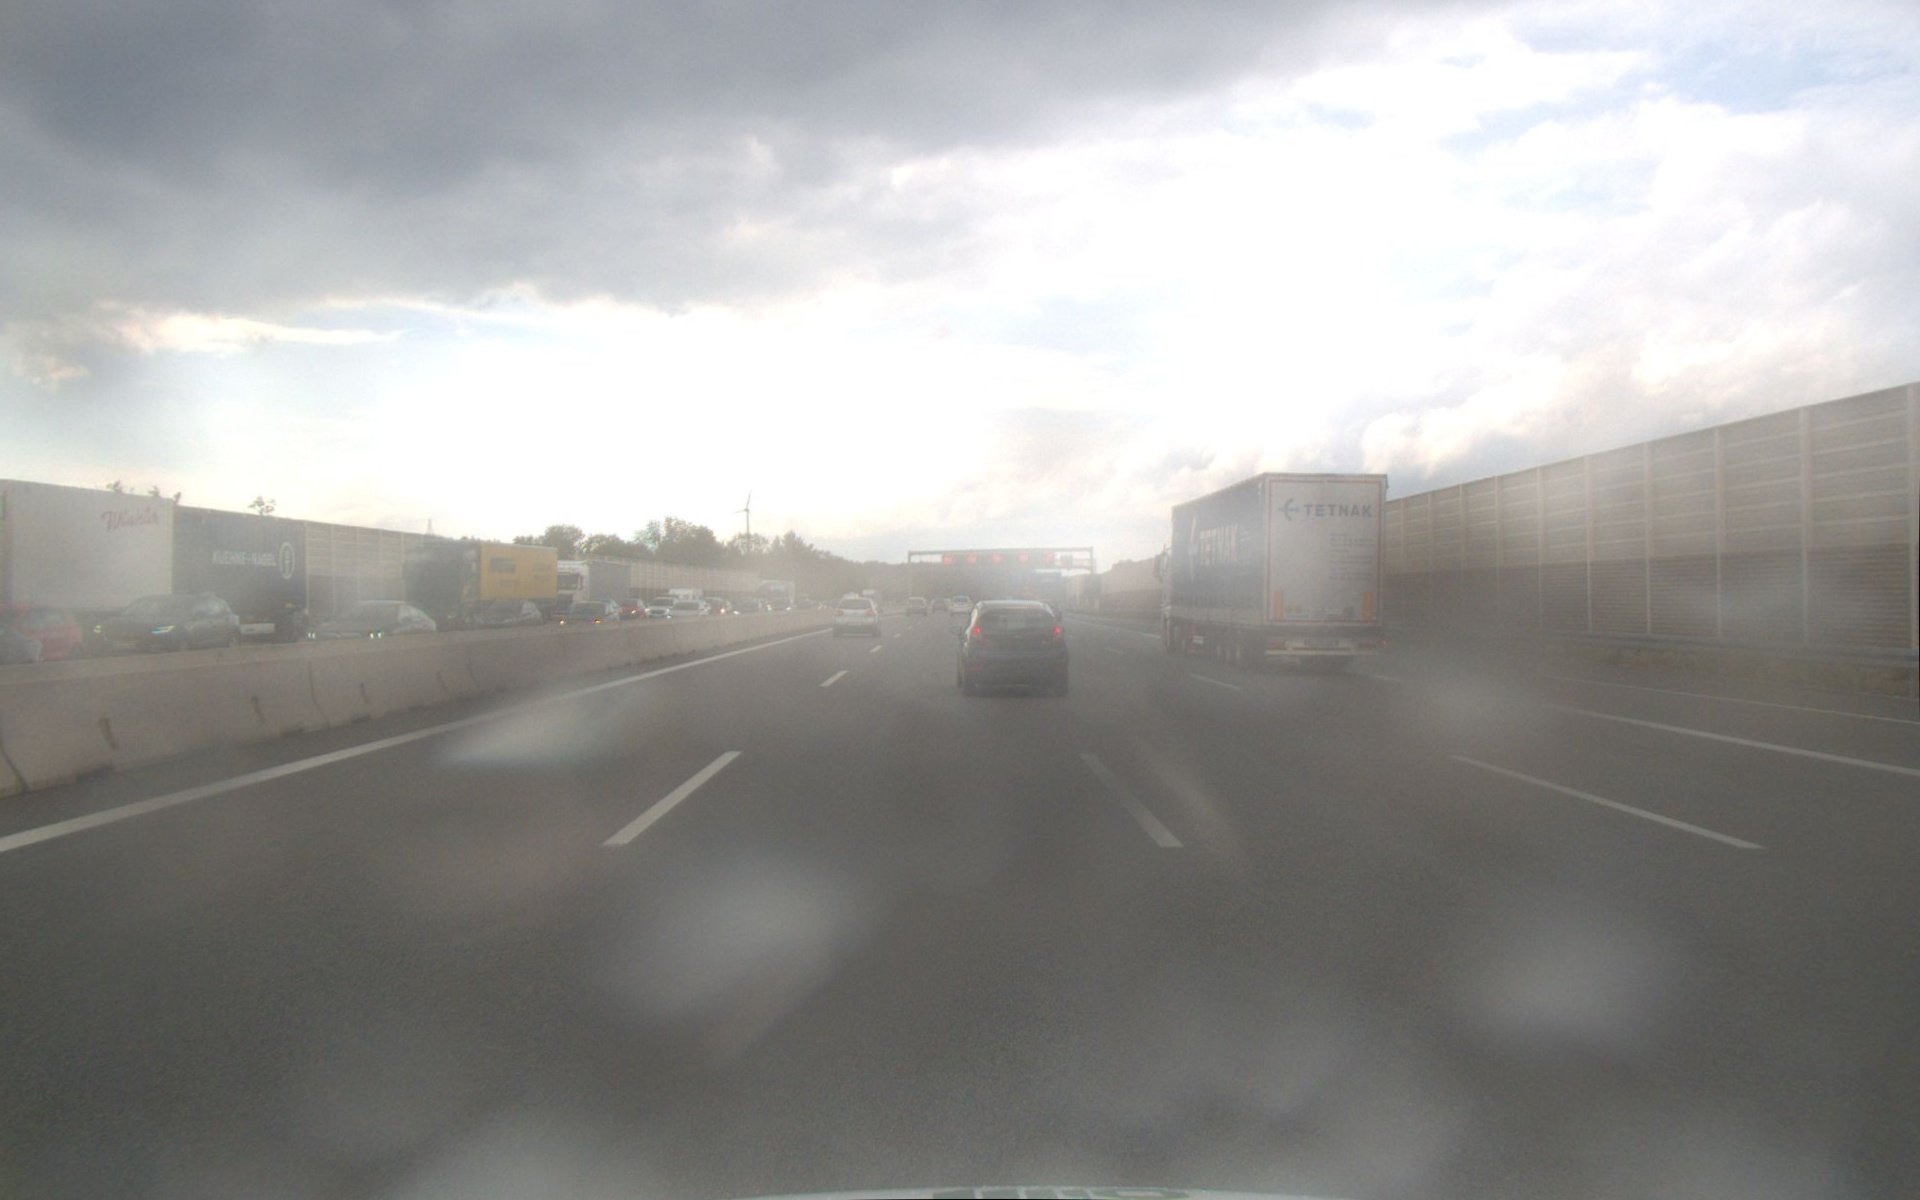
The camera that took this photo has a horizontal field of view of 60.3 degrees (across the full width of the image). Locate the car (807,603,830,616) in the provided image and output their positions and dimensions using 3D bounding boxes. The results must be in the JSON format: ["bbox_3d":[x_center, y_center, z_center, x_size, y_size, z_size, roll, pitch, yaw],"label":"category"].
[{"bbox_3d":[-16.585,1.142,194.110,2.017,1.517,4.999,0,-1,2],"label":"car"}]

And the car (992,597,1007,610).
[{"bbox_3d":[5.337,0.446,223.274,1.927,1.588,4.435,1,1,3],"label":"car"}]

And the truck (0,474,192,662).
[{"bbox_3d":[-21.924,-0.681,38.544,2.877,4.014,11.066,0,0,0],"label":"truck"}]

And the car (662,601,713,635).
[{"bbox_3d":[-14.315,0.941,87.004,2.019,1.729,4.409,0,0,-1],"label":"car"}]

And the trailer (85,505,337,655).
[{"bbox_3d":[-21.864,-0.546,49.145,2.871,4.008,10.119,0,0,0],"label":"trailer"}]

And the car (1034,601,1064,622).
[{"bbox_3d":[6.324,0.836,117.978,1.910,1.443,4.231,0,-1,-1],"label":"car"}]

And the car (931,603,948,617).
[{"bbox_3d":[-2.542,1.272,205.892,1.927,1.588,4.434,-1,-1,3],"label":"car"}]

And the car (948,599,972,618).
[{"bbox_3d":[0.010,0.721,145.864,1.927,1.588,4.434,-1,-1,3],"label":"car"}]

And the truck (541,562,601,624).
[{"bbox_3d":[-26.265,-0.439,111.906,2.688,4.105,5.726,0,0,0],"label":"truck"}]

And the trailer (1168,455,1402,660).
[{"bbox_3d":[7.405,-0.829,40.279,2.705,4.102,14.450,0,0,-1],"label":"trailer"}]

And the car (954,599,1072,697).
[{"bbox_3d":[0.778,0.716,26.711,1.682,1.442,4.277,0,0,-1],"label":"car"}]

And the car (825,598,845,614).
[{"bbox_3d":[-13.384,0.656,177.294,1.835,1.729,4.221,0,0,0],"label":"car"}]

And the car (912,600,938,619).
[{"bbox_3d":[-3.095,0.839,146.833,1.927,1.588,4.434,-1,-1,3],"label":"car"}]

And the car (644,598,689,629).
[{"bbox_3d":[-18.221,0.837,102.940,2.019,1.848,4.777,0,0,-1],"label":"car"}]

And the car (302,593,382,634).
[{"bbox_3d":[-26.870,0.557,72.059,2.019,1.753,4.210,0,0,-1],"label":"car"}]

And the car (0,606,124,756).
[{"bbox_3d":[-14.137,1.117,23.161,2.019,2.037,5.806,0,0,-1],"label":"car"}]

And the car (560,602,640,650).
[{"bbox_3d":[-14.181,0.997,65.534,2.019,1.786,5.806,0,0,-1],"label":"car"}]

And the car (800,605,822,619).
[{"bbox_3d":[-17.462,1.423,194.227,2.018,1.627,4.997,0,-1,0],"label":"car"}]

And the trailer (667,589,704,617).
[{"bbox_3d":[-25.638,0.235,154.741,2.408,2.539,6.086,0,0,1],"label":"trailer"}]

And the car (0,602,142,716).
[{"bbox_3d":[-18.363,1.070,32.274,2.019,2.037,5.806,0,0,-1],"label":"car"}]

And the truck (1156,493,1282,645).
[{"bbox_3d":[7.343,-0.832,47.653,2.689,4.105,5.725,0,0,-1],"label":"truck"}]

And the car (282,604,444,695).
[{"bbox_3d":[-14.553,1.142,40.715,2.019,2.037,5.806,0,0,-1],"label":"car"}]

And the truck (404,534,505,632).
[{"bbox_3d":[-21.955,-0.698,72.093,2.689,4.105,5.725,0,0,-1],"label":"truck"}]

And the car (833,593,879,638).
[{"bbox_3d":[-3.965,0.577,63.666,1.683,1.652,4.276,0,0,-2],"label":"car"}]

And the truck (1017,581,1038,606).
[{"bbox_3d":[10.333,-0.964,254.030,3.087,3.665,12.703,1,0,3],"label":"truck"}]

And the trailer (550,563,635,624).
[{"bbox_3d":[-26.177,-0.442,118.656,2.704,4.102,14.453,0,0,1],"label":"trailer"}]

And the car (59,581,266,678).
[{"bbox_3d":[-18.066,0.613,37.839,2.019,2.037,5.806,0,0,-1],"label":"car"}]

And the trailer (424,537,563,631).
[{"bbox_3d":[-22.036,-0.666,79.184,2.705,4.102,14.450,0,0,-1],"label":"trailer"}]

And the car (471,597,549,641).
[{"bbox_3d":[-18.149,0.747,66.883,2.019,1.729,4.409,0,0,-1],"label":"car"}]

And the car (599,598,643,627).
[{"bbox_3d":[-22.402,0.786,109.438,2.019,1.848,4.777,0,0,-1],"label":"car"}]

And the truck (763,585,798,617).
[{"bbox_3d":[-20.971,0.088,193.769,2.640,3.589,9.997,1,0,2],"label":"truck"}]
